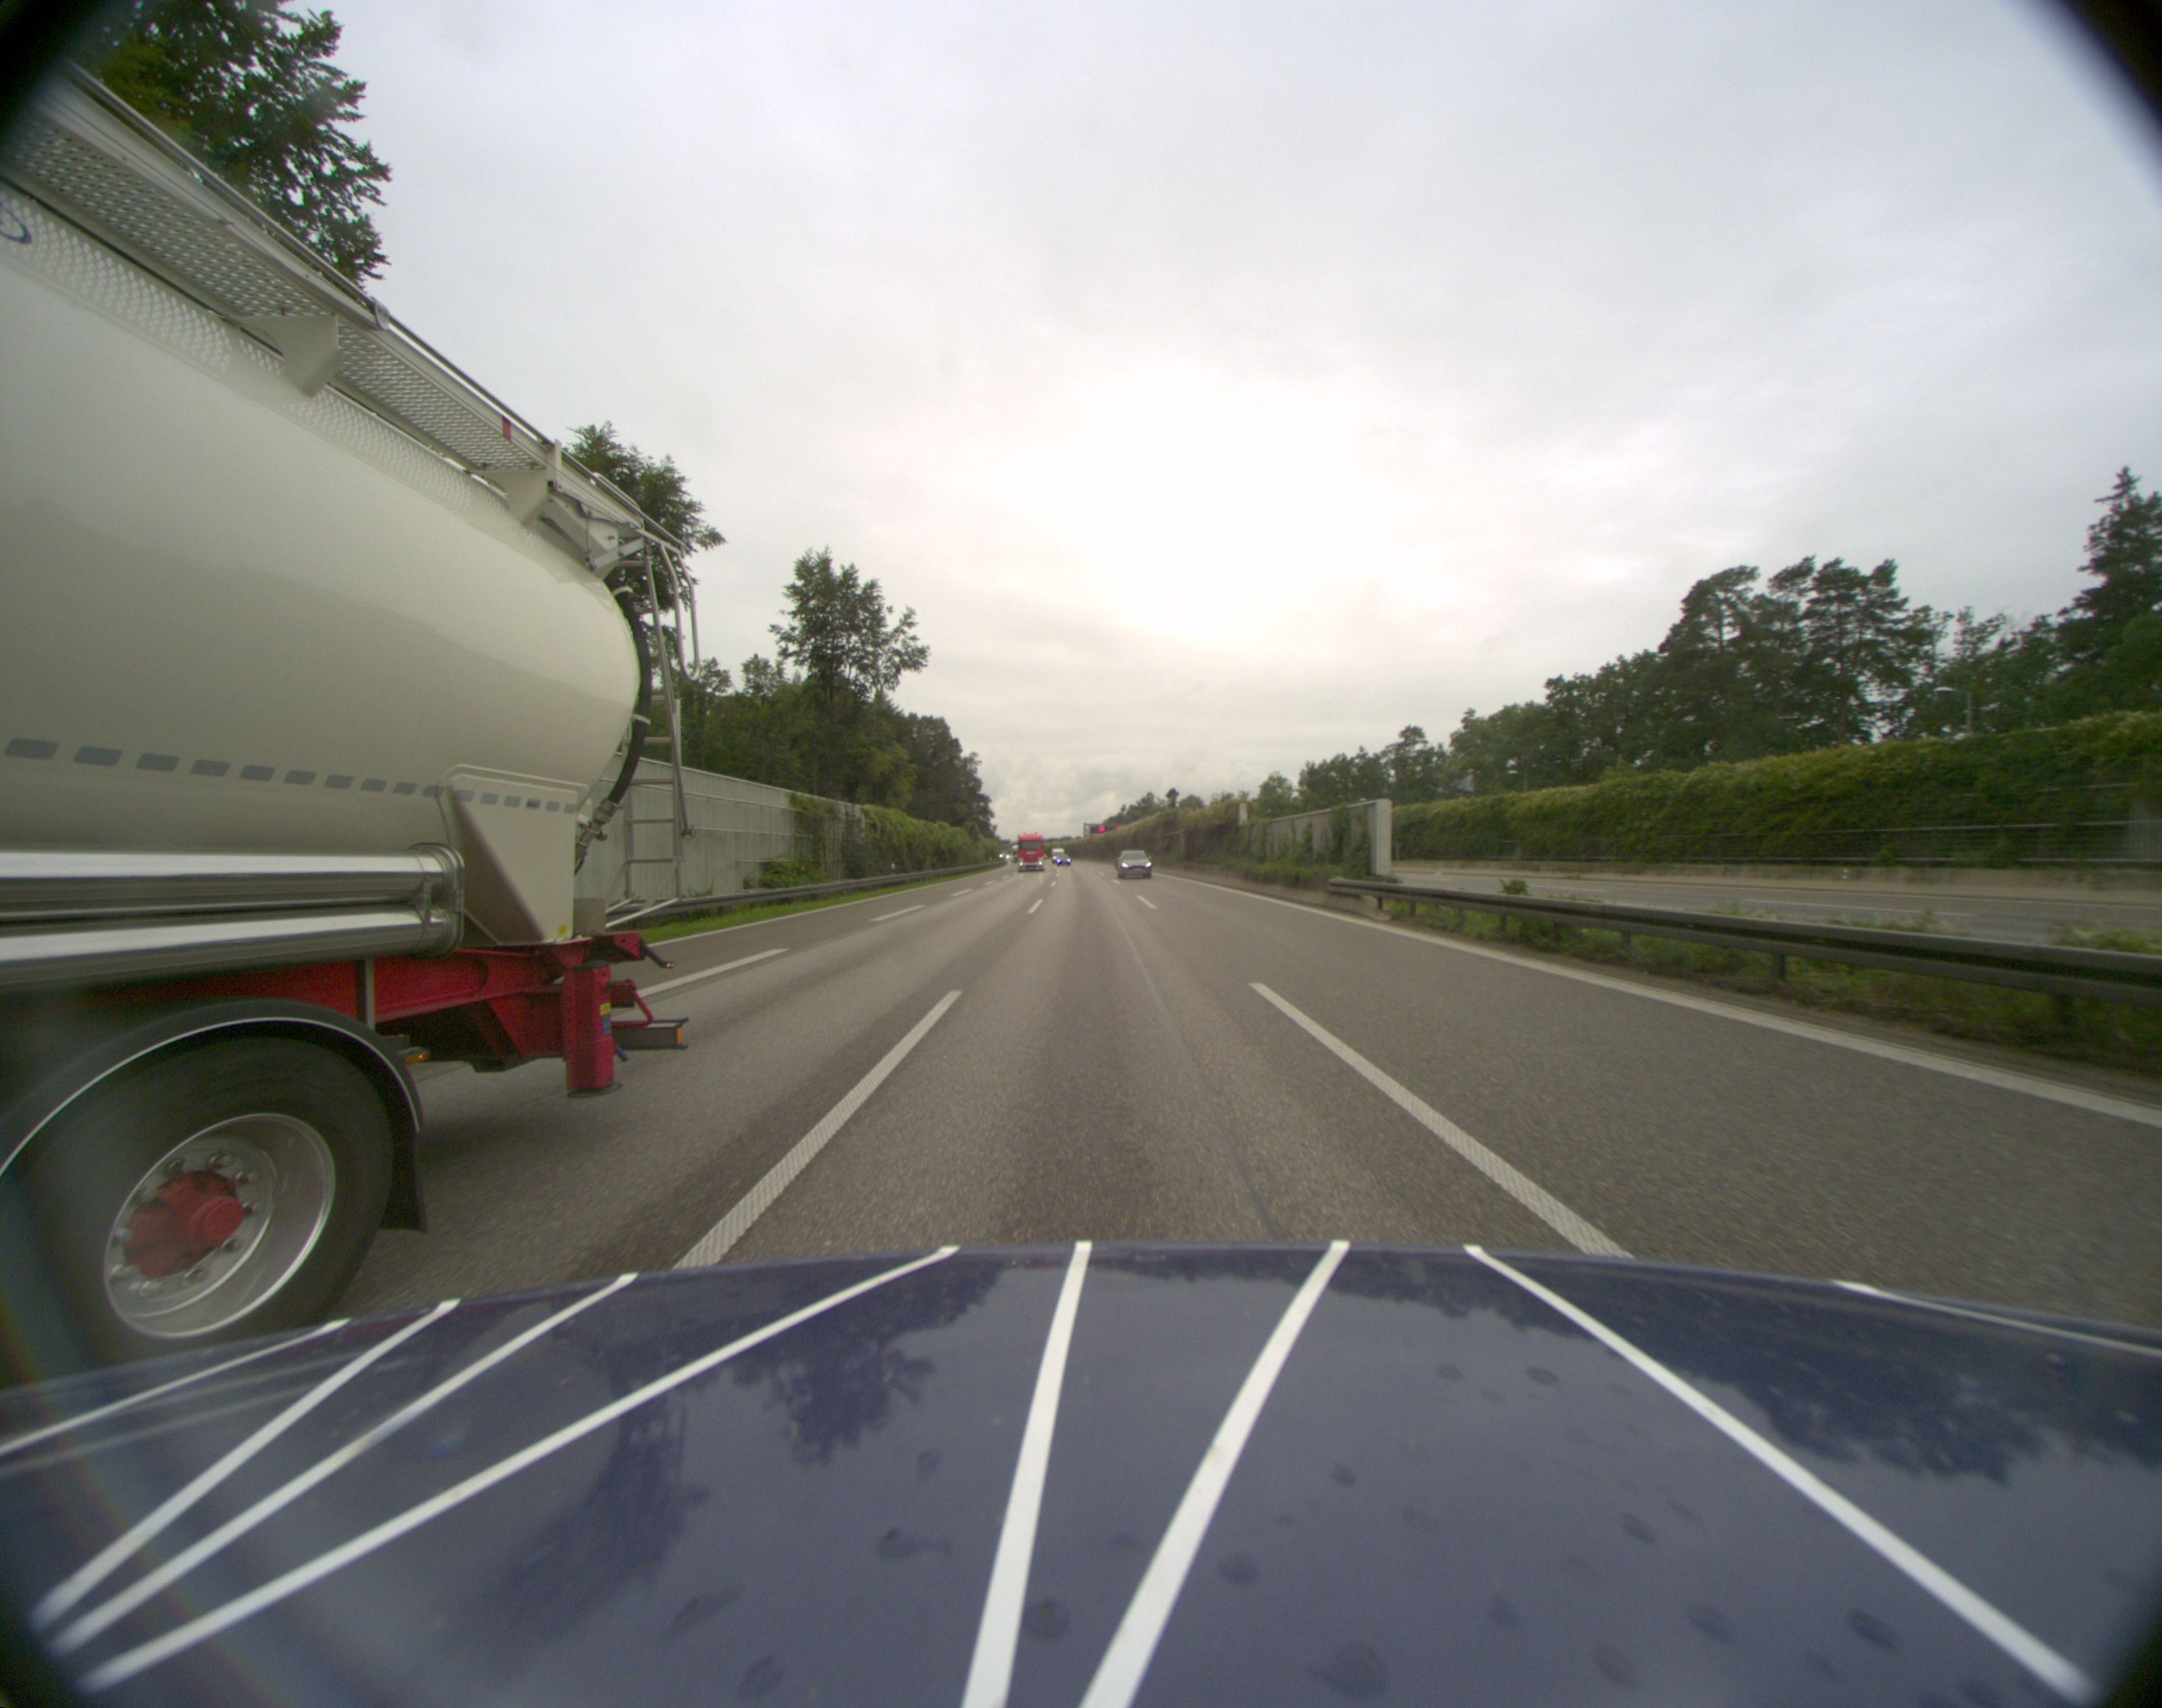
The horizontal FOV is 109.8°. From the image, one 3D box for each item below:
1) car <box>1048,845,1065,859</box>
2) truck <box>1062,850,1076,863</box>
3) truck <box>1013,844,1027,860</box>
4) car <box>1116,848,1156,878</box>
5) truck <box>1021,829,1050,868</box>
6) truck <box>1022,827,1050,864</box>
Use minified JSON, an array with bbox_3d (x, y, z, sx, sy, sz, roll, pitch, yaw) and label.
[{"bbox_3d":[-4.176,-0.401,128.873,2.769,2.227,6.544,-1,1,-2],"label":"car"},{"bbox_3d":[-1.690,0.327,104.672,1.825,1.535,3.997,-2,2,-3],"label":"truck"},{"bbox_3d":[-13.952,-0.510,173.609,2.710,3.690,8.234,-1,1,-8],"label":"truck"},{"bbox_3d":[3.291,0.512,46.525,2.023,1.595,5.438,-1,2,0],"label":"car"},{"bbox_3d":[-4.502,-0.588,75.897,2.709,3.809,4.196,-1,2,-1],"label":"truck"},{"bbox_3d":[-4.684,-1.005,80.687,2.709,3.691,9.836,-1,2,-2],"label":"truck"}]
